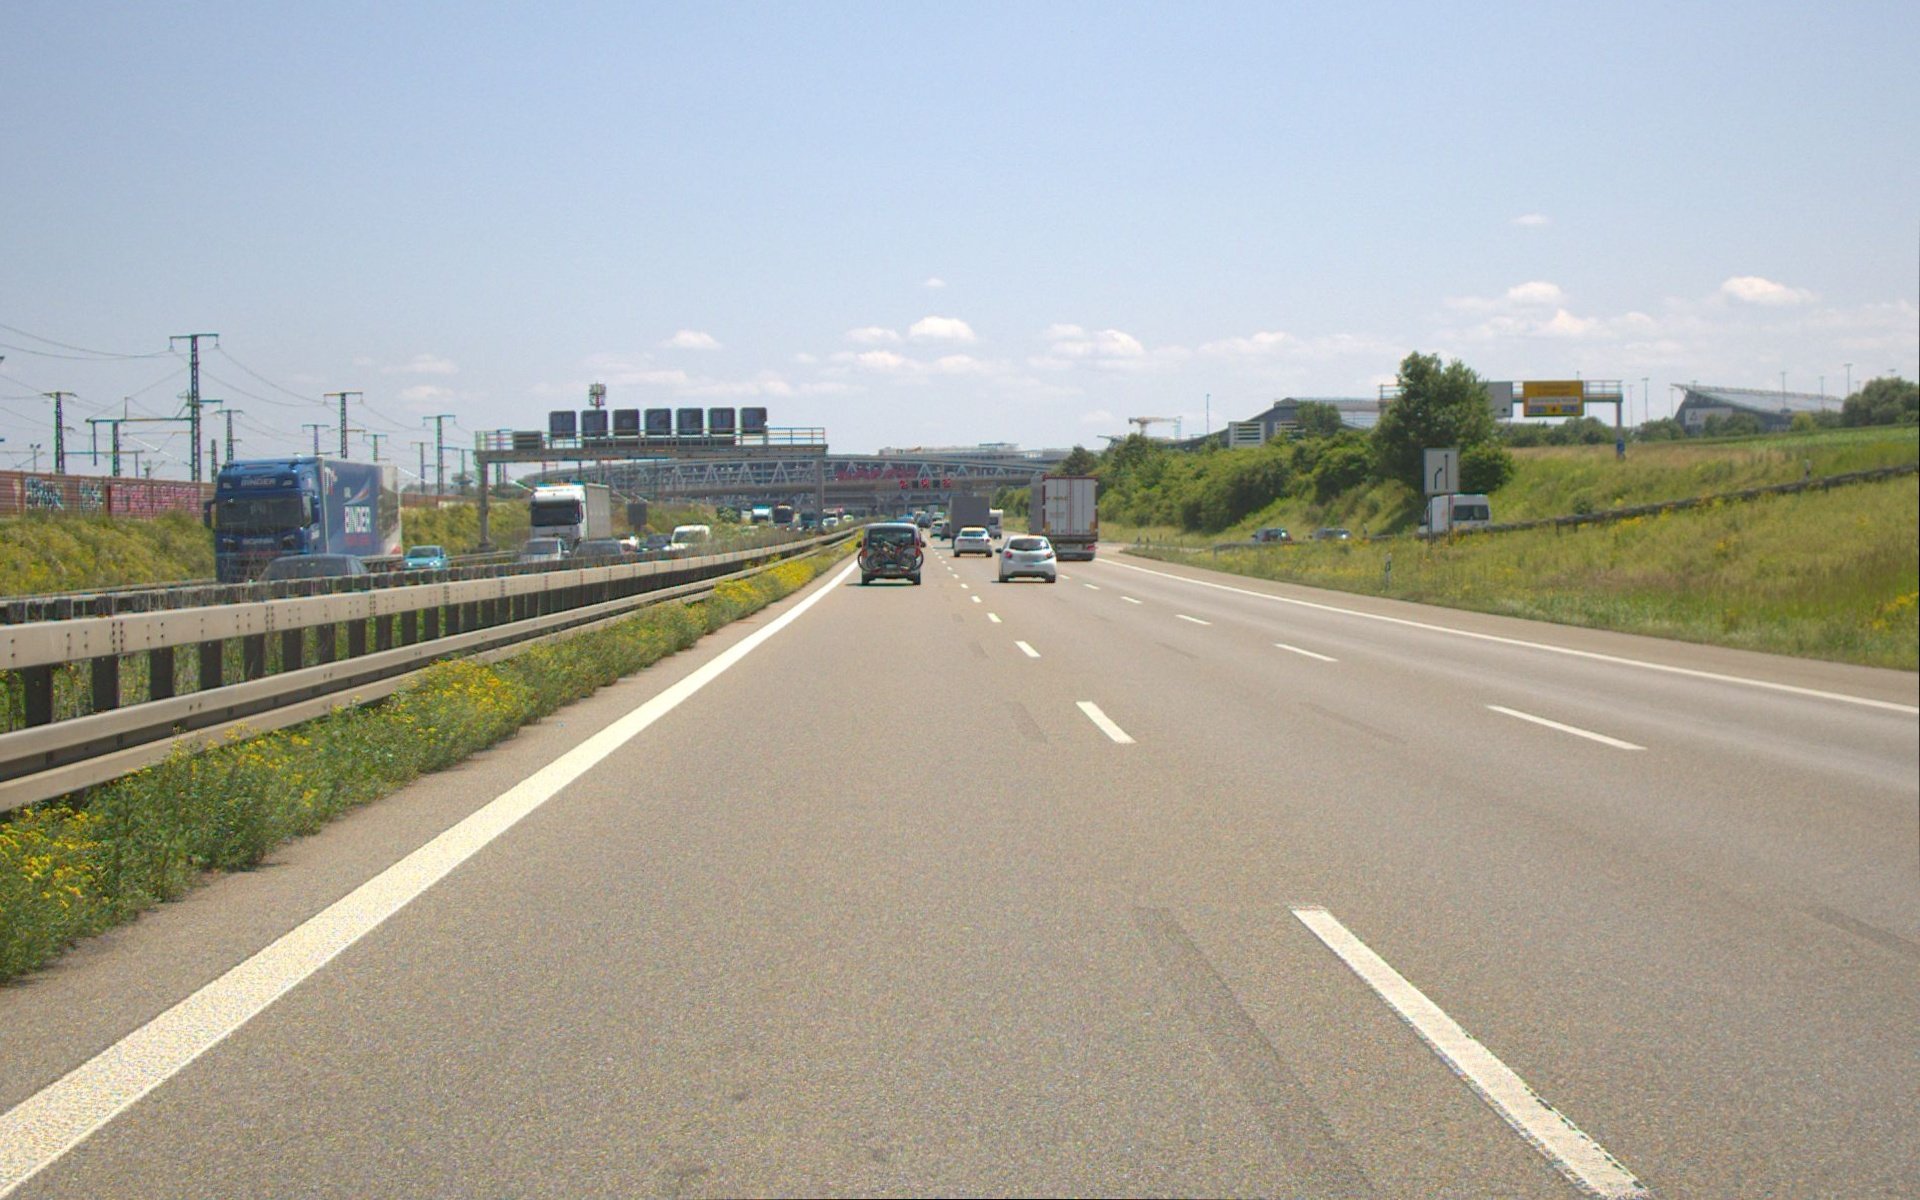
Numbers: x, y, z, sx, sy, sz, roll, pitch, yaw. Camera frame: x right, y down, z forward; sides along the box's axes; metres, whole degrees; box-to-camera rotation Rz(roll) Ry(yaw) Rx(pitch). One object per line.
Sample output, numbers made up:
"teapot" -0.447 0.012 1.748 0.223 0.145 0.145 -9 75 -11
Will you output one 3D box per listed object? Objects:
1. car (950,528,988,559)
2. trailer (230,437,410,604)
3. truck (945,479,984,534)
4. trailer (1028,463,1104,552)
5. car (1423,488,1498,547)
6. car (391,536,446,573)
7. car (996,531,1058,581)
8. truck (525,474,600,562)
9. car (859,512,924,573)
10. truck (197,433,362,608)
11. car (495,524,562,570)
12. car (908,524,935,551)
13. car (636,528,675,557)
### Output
"car" 0.458 -2.857 173.868 1.881 1.521 4.000 0 1 0
"trailer" -18.075 -2.267 97.935 2.888 4.392 12.092 -1 1 -1
"truck" 0.273 -5.888 216.799 2.355 3.404 6.058 0 1 -1
"trailer" 4.985 -4.420 163.689 3.177 4.045 9.440 -1 2 -1
"car" 21.635 -3.584 148.840 2.274 2.519 5.400 0 2 -2
"car" -22.678 -1.924 144.049 1.754 1.514 3.836 0 1 0
"car" 2.116 -1.386 107.390 1.881 1.521 4.000 0 1 2
"truck" -18.905 -3.909 163.903 2.730 4.058 6.381 -1 1 0
"car" -2.013 -1.698 101.865 1.880 1.769 4.000 -1 1 -1
"truck" -18.007 -2.118 91.430 2.888 4.392 7.504 -1 1 -1
"car" -15.684 -1.935 125.052 1.993 1.642 4.000 0 1 -1
"car" -2.897 -4.728 258.590 1.993 2.007 4.000 0 1 -1
"car" -15.690 -2.951 177.203 1.644 1.456 3.836 0 1 0
